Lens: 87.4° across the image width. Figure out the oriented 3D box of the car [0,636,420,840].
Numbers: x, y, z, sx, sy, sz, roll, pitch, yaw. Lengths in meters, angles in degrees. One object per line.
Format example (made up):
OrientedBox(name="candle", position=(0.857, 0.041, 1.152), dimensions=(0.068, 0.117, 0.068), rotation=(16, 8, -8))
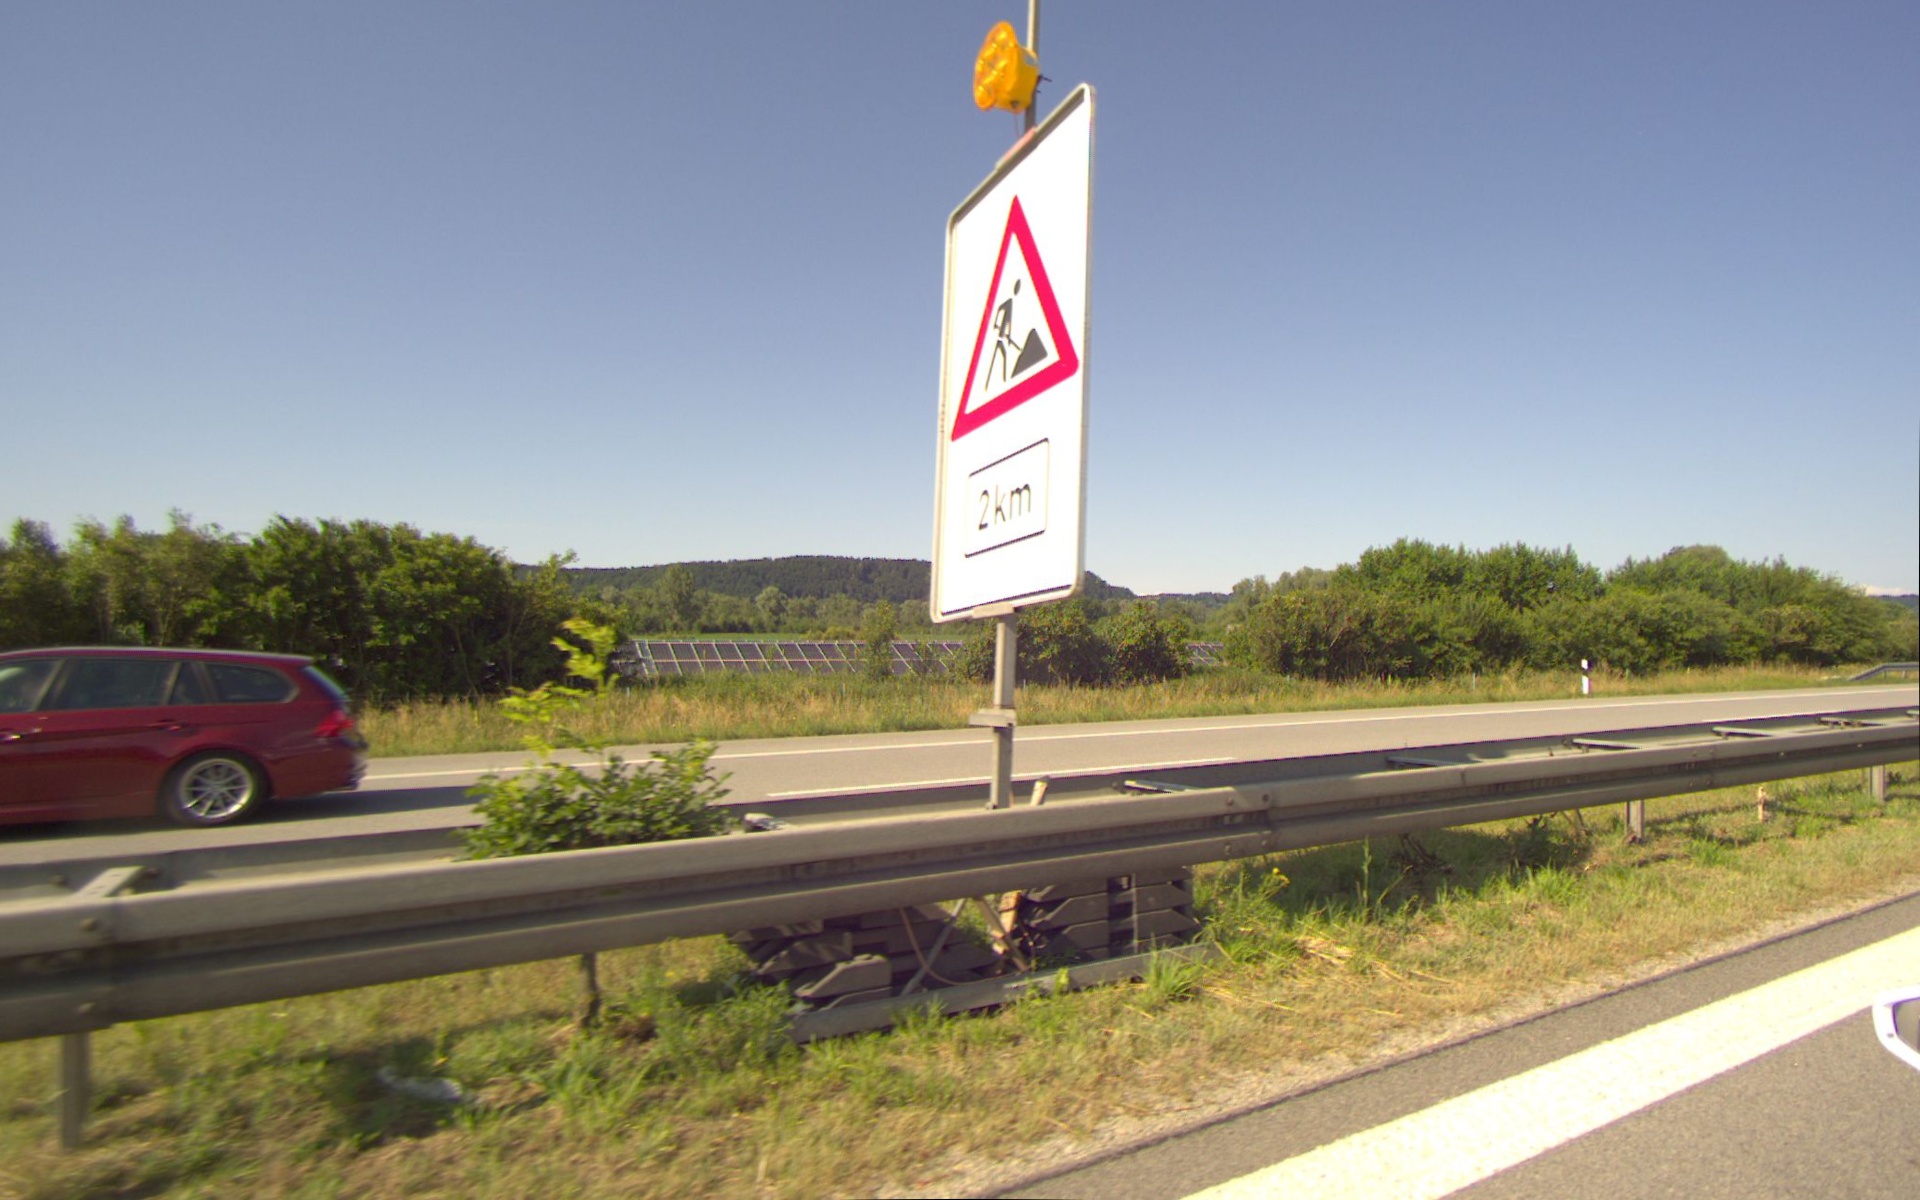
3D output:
OrientedBox(name="car", position=(-7.047, 1.026, 7.898), dimensions=(4.866, 1.416, 1.824), rotation=(1, -4, -31))
